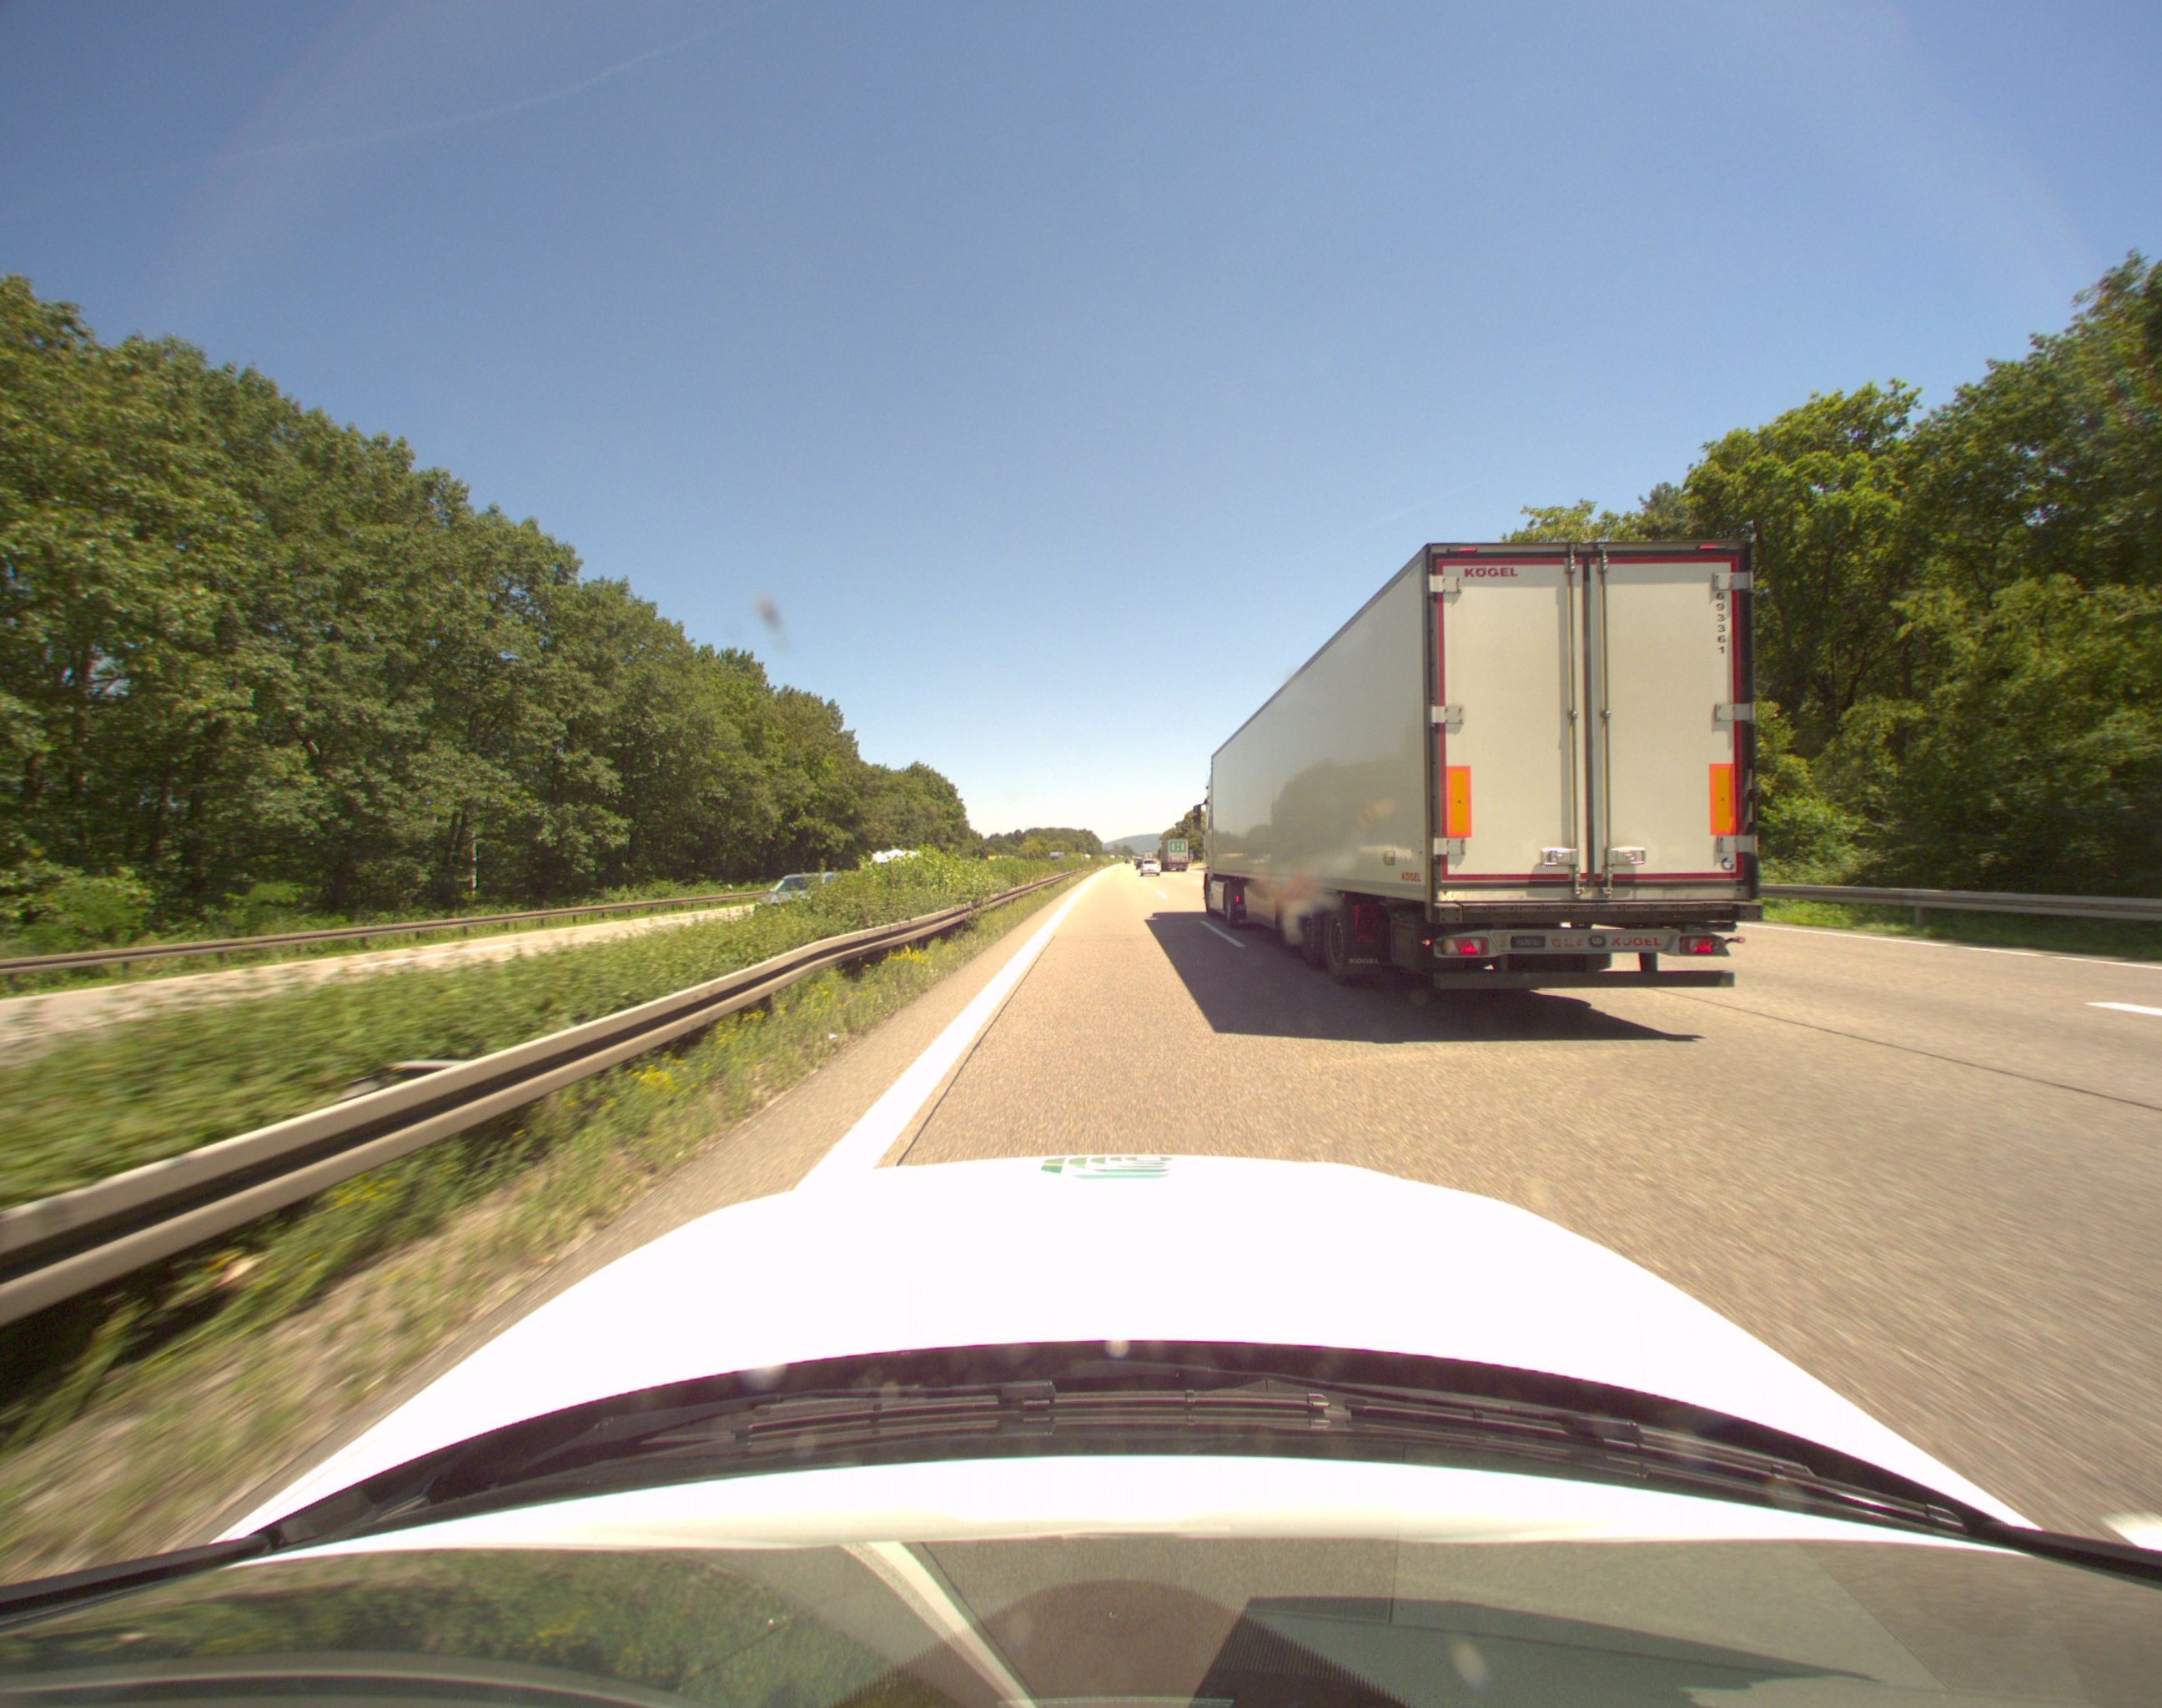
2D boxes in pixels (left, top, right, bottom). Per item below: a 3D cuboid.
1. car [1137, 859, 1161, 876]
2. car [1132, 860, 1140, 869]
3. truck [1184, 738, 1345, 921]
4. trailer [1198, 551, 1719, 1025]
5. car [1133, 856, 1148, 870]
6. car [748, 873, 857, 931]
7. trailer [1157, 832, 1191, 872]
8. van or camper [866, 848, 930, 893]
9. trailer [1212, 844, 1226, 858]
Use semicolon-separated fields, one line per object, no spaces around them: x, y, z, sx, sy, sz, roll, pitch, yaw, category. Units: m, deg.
6.233;1.234;74.708;1.807;1.405;3.314;-2;0;-2;car
12.940;2.441;191.802;1.875;2.013;4.002;-2;0;2;car
4.539;-0.555;21.208;3.216;4.158;4.562;-2;0;2;truck
4.247;-0.570;13.460;3.211;4.143;12.357;-2;0;2;trailer
8.668;1.266;119.197;1.887;1.892;4.008;-2;-1;7;car
-8.178;1.365;24.293;1.805;1.487;4.014;-2;-1;0;car
11.541;-0.163;102.050;3.170;4.627;12.054;-2;-1;2;trailer
-13.794;1.160;62.104;2.410;3.112;9.091;-2;0;2;van or camper
38.914;-0.784;229.089;3.162;3.935;11.590;-1;-1;13;trailer
